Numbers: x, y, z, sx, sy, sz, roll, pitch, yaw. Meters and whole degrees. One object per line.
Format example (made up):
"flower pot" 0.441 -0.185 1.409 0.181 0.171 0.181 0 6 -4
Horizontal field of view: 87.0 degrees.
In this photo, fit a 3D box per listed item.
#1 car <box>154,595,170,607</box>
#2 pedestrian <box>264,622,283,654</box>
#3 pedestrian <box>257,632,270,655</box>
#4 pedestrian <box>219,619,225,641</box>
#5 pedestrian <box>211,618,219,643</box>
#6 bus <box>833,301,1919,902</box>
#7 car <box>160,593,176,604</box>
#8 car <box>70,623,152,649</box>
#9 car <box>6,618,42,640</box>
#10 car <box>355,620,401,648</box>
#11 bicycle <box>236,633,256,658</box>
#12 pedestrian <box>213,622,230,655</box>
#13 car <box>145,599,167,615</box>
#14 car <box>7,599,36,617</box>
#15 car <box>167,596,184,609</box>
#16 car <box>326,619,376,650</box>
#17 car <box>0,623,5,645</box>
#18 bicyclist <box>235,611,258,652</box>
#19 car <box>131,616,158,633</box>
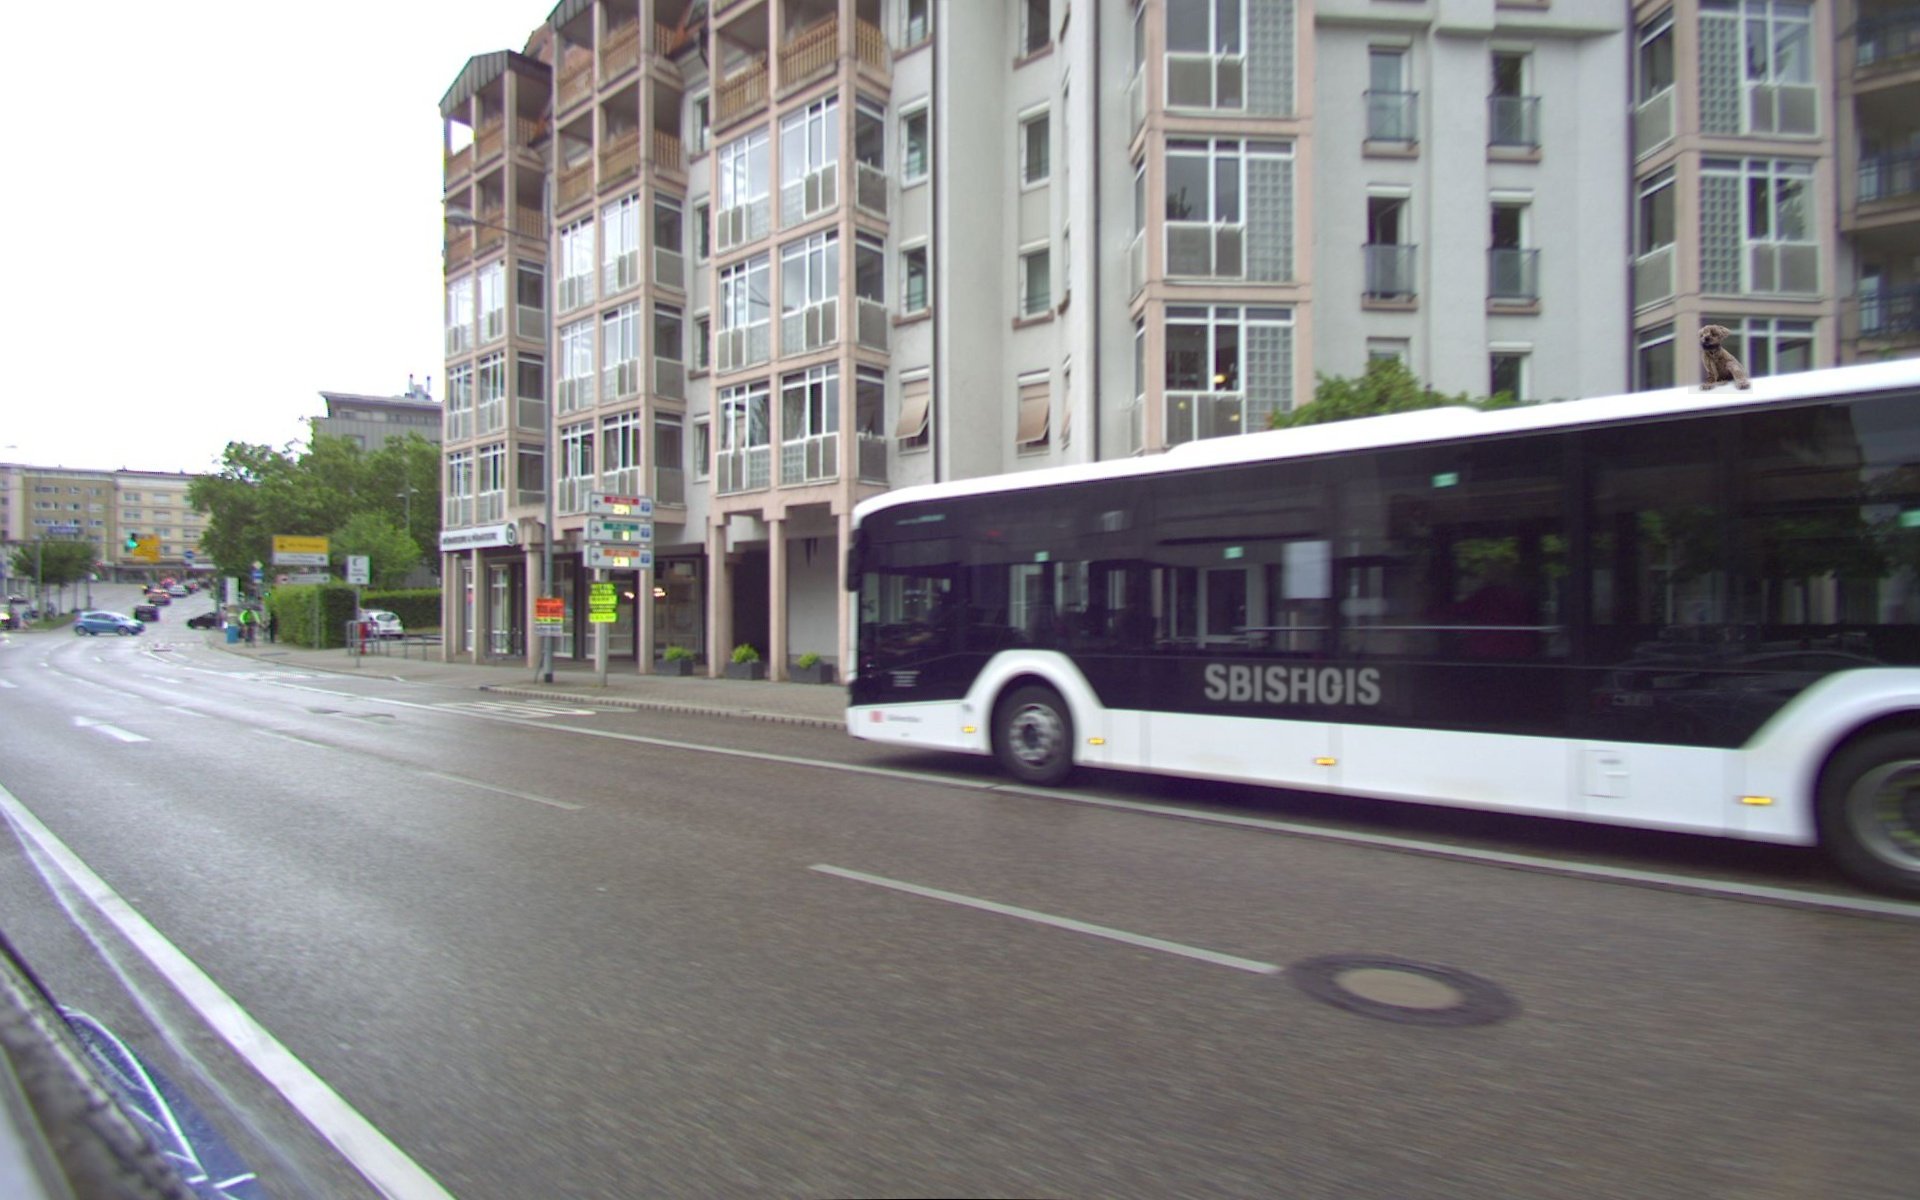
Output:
"car" -105.211 0.140 133.383 1.602 1.567 3.667 1 -1 -38
"pedestrian" -35.169 1.942 51.853 0.565 1.571 0.706 -2 -2 44
"pedestrian" -35.805 2.217 52.020 0.463 1.159 0.502 1 -2 -45
"pedestrian" -57.988 2.367 79.518 0.406 1.777 0.678 0 -2 -38
"pedestrian" -57.532 2.350 78.196 0.441 1.851 0.677 0 2 -41
"bus" 4.085 0.103 7.849 12.233 3.099 2.715 -3 -2 42
"car" -114.861 -0.291 146.869 1.691 1.490 3.966 3 -1 -37
"car" -54.064 2.318 64.511 3.627 1.485 1.706 -2 -2 -16
"car" -83.763 2.586 90.593 1.803 1.749 4.011 1 1 -35
"car" -33.386 1.933 58.020 1.575 1.550 3.605 0 -1 -42
"bicycle" -34.125 2.177 48.362 0.642 1.118 2.062 0 -1 -39
"pedestrian" -40.307 2.115 55.259 0.528 1.778 0.622 -1 -1 40
"car" -90.523 0.744 113.986 1.803 1.749 4.320 1 0 -37
"car" -103.269 0.898 111.355 1.803 1.749 4.011 1 1 -35
"car" -100.951 0.305 130.225 1.650 1.527 3.651 2 -1 -36
"car" -31.657 1.777 52.582 1.575 1.550 3.605 0 -1 -42
"car" -65.159 2.301 67.551 1.742 1.420 4.008 -1 2 -39
"bicyclist" -34.035 1.500 48.271 0.781 1.904 0.955 0 -1 -40
"car" -73.507 2.175 91.235 1.734 1.431 4.106 3 -1 -37
